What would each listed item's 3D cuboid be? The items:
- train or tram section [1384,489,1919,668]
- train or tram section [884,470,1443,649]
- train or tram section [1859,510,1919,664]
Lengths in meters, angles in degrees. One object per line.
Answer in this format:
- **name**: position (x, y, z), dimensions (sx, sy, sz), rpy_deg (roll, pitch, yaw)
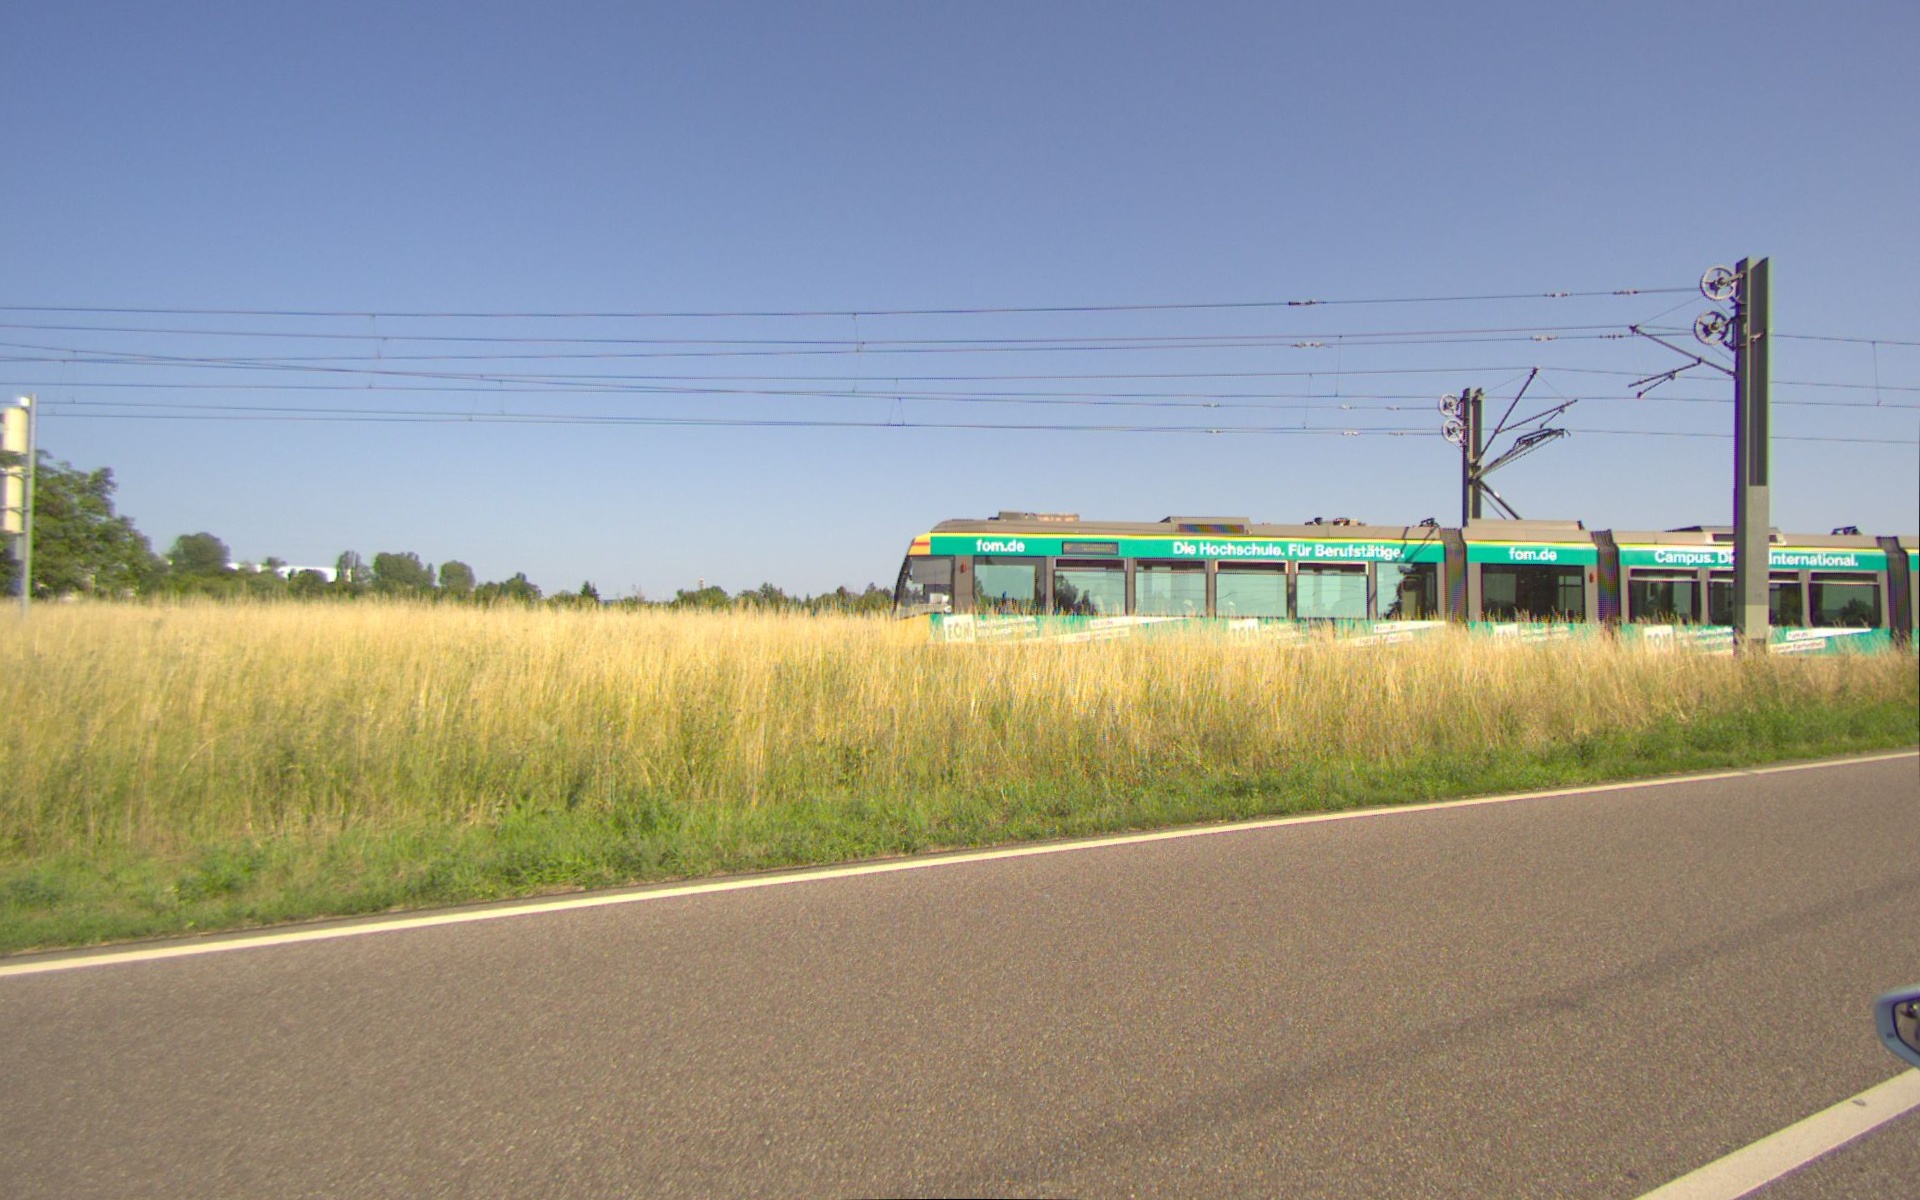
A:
- **train or tram section**: position (16.398, -0.422, 23.244), dimensions (11.928, 3.500, 2.926), rpy_deg (2, 0, -2)
- **train or tram section**: position (4.375, -0.854, 22.987), dimensions (11.926, 3.531, 2.960), rpy_deg (1, 0, -1)
- **train or tram section**: position (29.393, 0.052, 23.668), dimensions (13.983, 3.615, 2.915), rpy_deg (3, 0, -2)
